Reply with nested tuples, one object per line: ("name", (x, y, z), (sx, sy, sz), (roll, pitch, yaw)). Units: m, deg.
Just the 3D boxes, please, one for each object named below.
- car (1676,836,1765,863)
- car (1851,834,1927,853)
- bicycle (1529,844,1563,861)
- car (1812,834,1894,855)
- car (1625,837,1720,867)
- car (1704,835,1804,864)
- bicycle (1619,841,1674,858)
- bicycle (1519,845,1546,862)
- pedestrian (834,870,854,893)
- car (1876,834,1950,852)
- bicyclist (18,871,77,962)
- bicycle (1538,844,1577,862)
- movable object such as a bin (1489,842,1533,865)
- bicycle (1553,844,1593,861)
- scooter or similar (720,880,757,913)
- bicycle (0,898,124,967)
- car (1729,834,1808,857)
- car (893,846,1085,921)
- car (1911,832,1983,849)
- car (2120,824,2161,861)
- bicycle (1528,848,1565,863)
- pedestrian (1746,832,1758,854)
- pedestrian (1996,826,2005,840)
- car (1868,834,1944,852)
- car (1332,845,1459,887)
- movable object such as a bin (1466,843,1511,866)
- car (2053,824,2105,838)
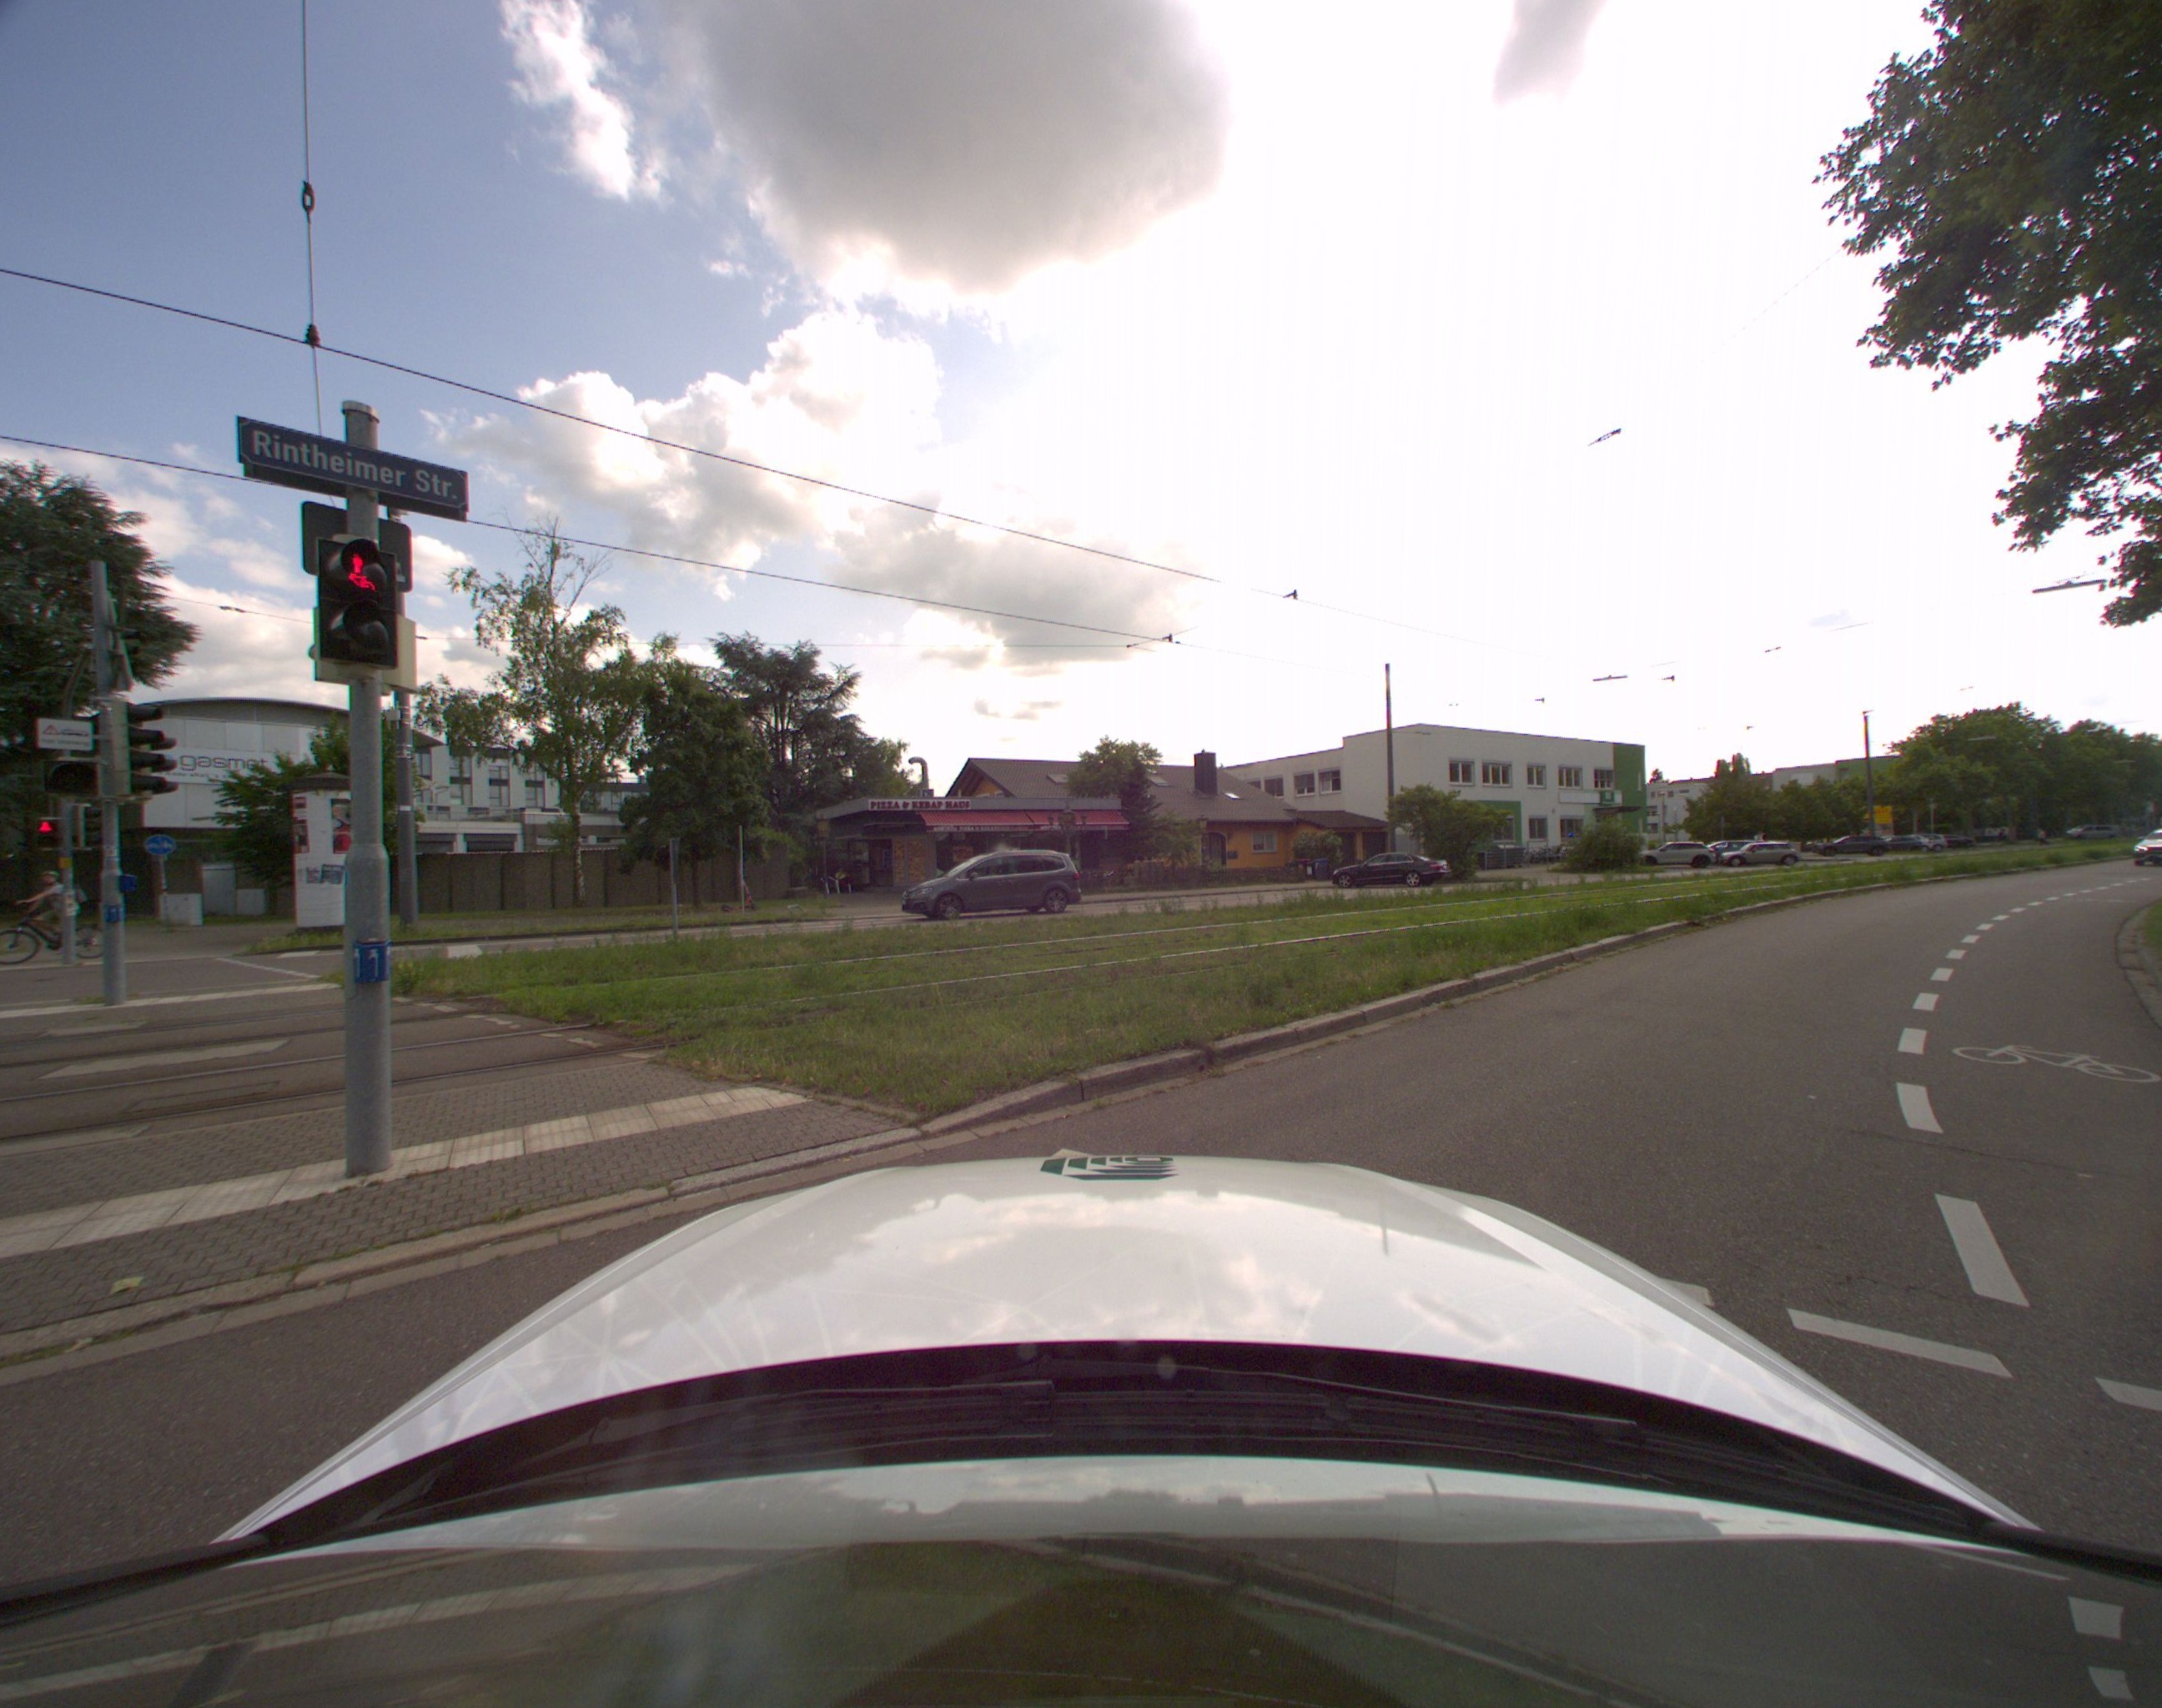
("car", (40.433, -0.286, 51.627), (4.259, 1.629, 1.914), (-1, 0, 32))
("car", (66.980, -0.860, 67.628), (4.259, 1.364, 1.914), (-2, 0, 38))
("bicycle", (30.839, -0.076, 54.057), (0.739, 1.081, 1.779), (-2, 0, -32))
("car", (58.450, -0.713, 61.770), (4.259, 1.364, 1.914), (-2, 0, 36))
("car", (35.172, -0.105, 48.565), (4.261, 1.629, 1.913), (-2, 0, 27))
("car", (40.030, -0.268, 48.562), (4.261, 1.629, 1.913), (-1, 0, 26))
("bicycle", (41.132, -0.314, 59.290), (1.147, 1.166, 3.110), (-2, 0, -34))
("bicycle", (30.954, -0.017, 55.815), (0.704, 1.166, 1.613), (-2, 0, -14))
("pedestrian", (-10.072, 1.157, 34.600), (0.728, 0.929, 0.770), (-1, 1, -25))
("car", (72.076, -0.943, 70.657), (4.259, 1.364, 1.914), (-2, 0, 38))
("bicyclist", (-21.300, 1.273, 16.794), (0.535, 1.809, 0.547), (0, 1, 13))
("bicycle", (33.211, -0.077, 56.808), (0.762, 1.166, 2.332), (-2, 0, -24))
("movable object such as a bin", (26.396, -0.005, 49.979), (2.136, 1.326, 1.364), (-2, 0, -27))
("bicycle", (34.412, -0.081, 57.016), (0.749, 1.166, 2.399), (-2, 0, -23))
("scooter or similar", (-11.570, 1.416, 27.531), (1.103, 1.059, 0.400), (0, 1, -15))
("bicycle", (-21.296, 1.589, 16.791), (0.535, 1.235, 1.960), (0, 1, 14))
("car", (47.985, -0.597, 56.950), (4.116, 1.504, 1.872), (-1, 0, 38))
("car", (-2.465, 0.738, 21.915), (4.748, 1.722, 1.983), (-2, 0, -25))
("car", (79.536, -1.205, 74.872), (4.259, 1.364, 1.914), (-2, 0, 38))
("car", (42.664, -0.468, 31.803), (4.618, 1.393, 1.824), (-1, 0, -28))
("bicycle", (32.316, 0.131, 56.539), (0.732, 0.970, 2.141), (-2, 0, -26))
("pedestrian", (53.163, -0.869, 64.557), (0.544, 1.674, 0.591), (-1, -1, -39))
("pedestrian", (112.339, -2.603, 99.515), (0.648, 1.729, 0.616), (-1, 1, -31))
("car", (69.958, -0.904, 69.133), (4.259, 1.364, 1.914), (-2, 0, 38))
("car", (13.165, 0.514, 34.201), (4.520, 1.580, 2.013), (-3, -1, 40))
("movable object such as a bin", (24.476, 0.024, 48.915), (2.122, 1.326, 1.364), (-2, 0, -27))
("car", (133.210, -3.034, 108.736), (3.949, 1.837, 1.833), (0, 1, 28))
